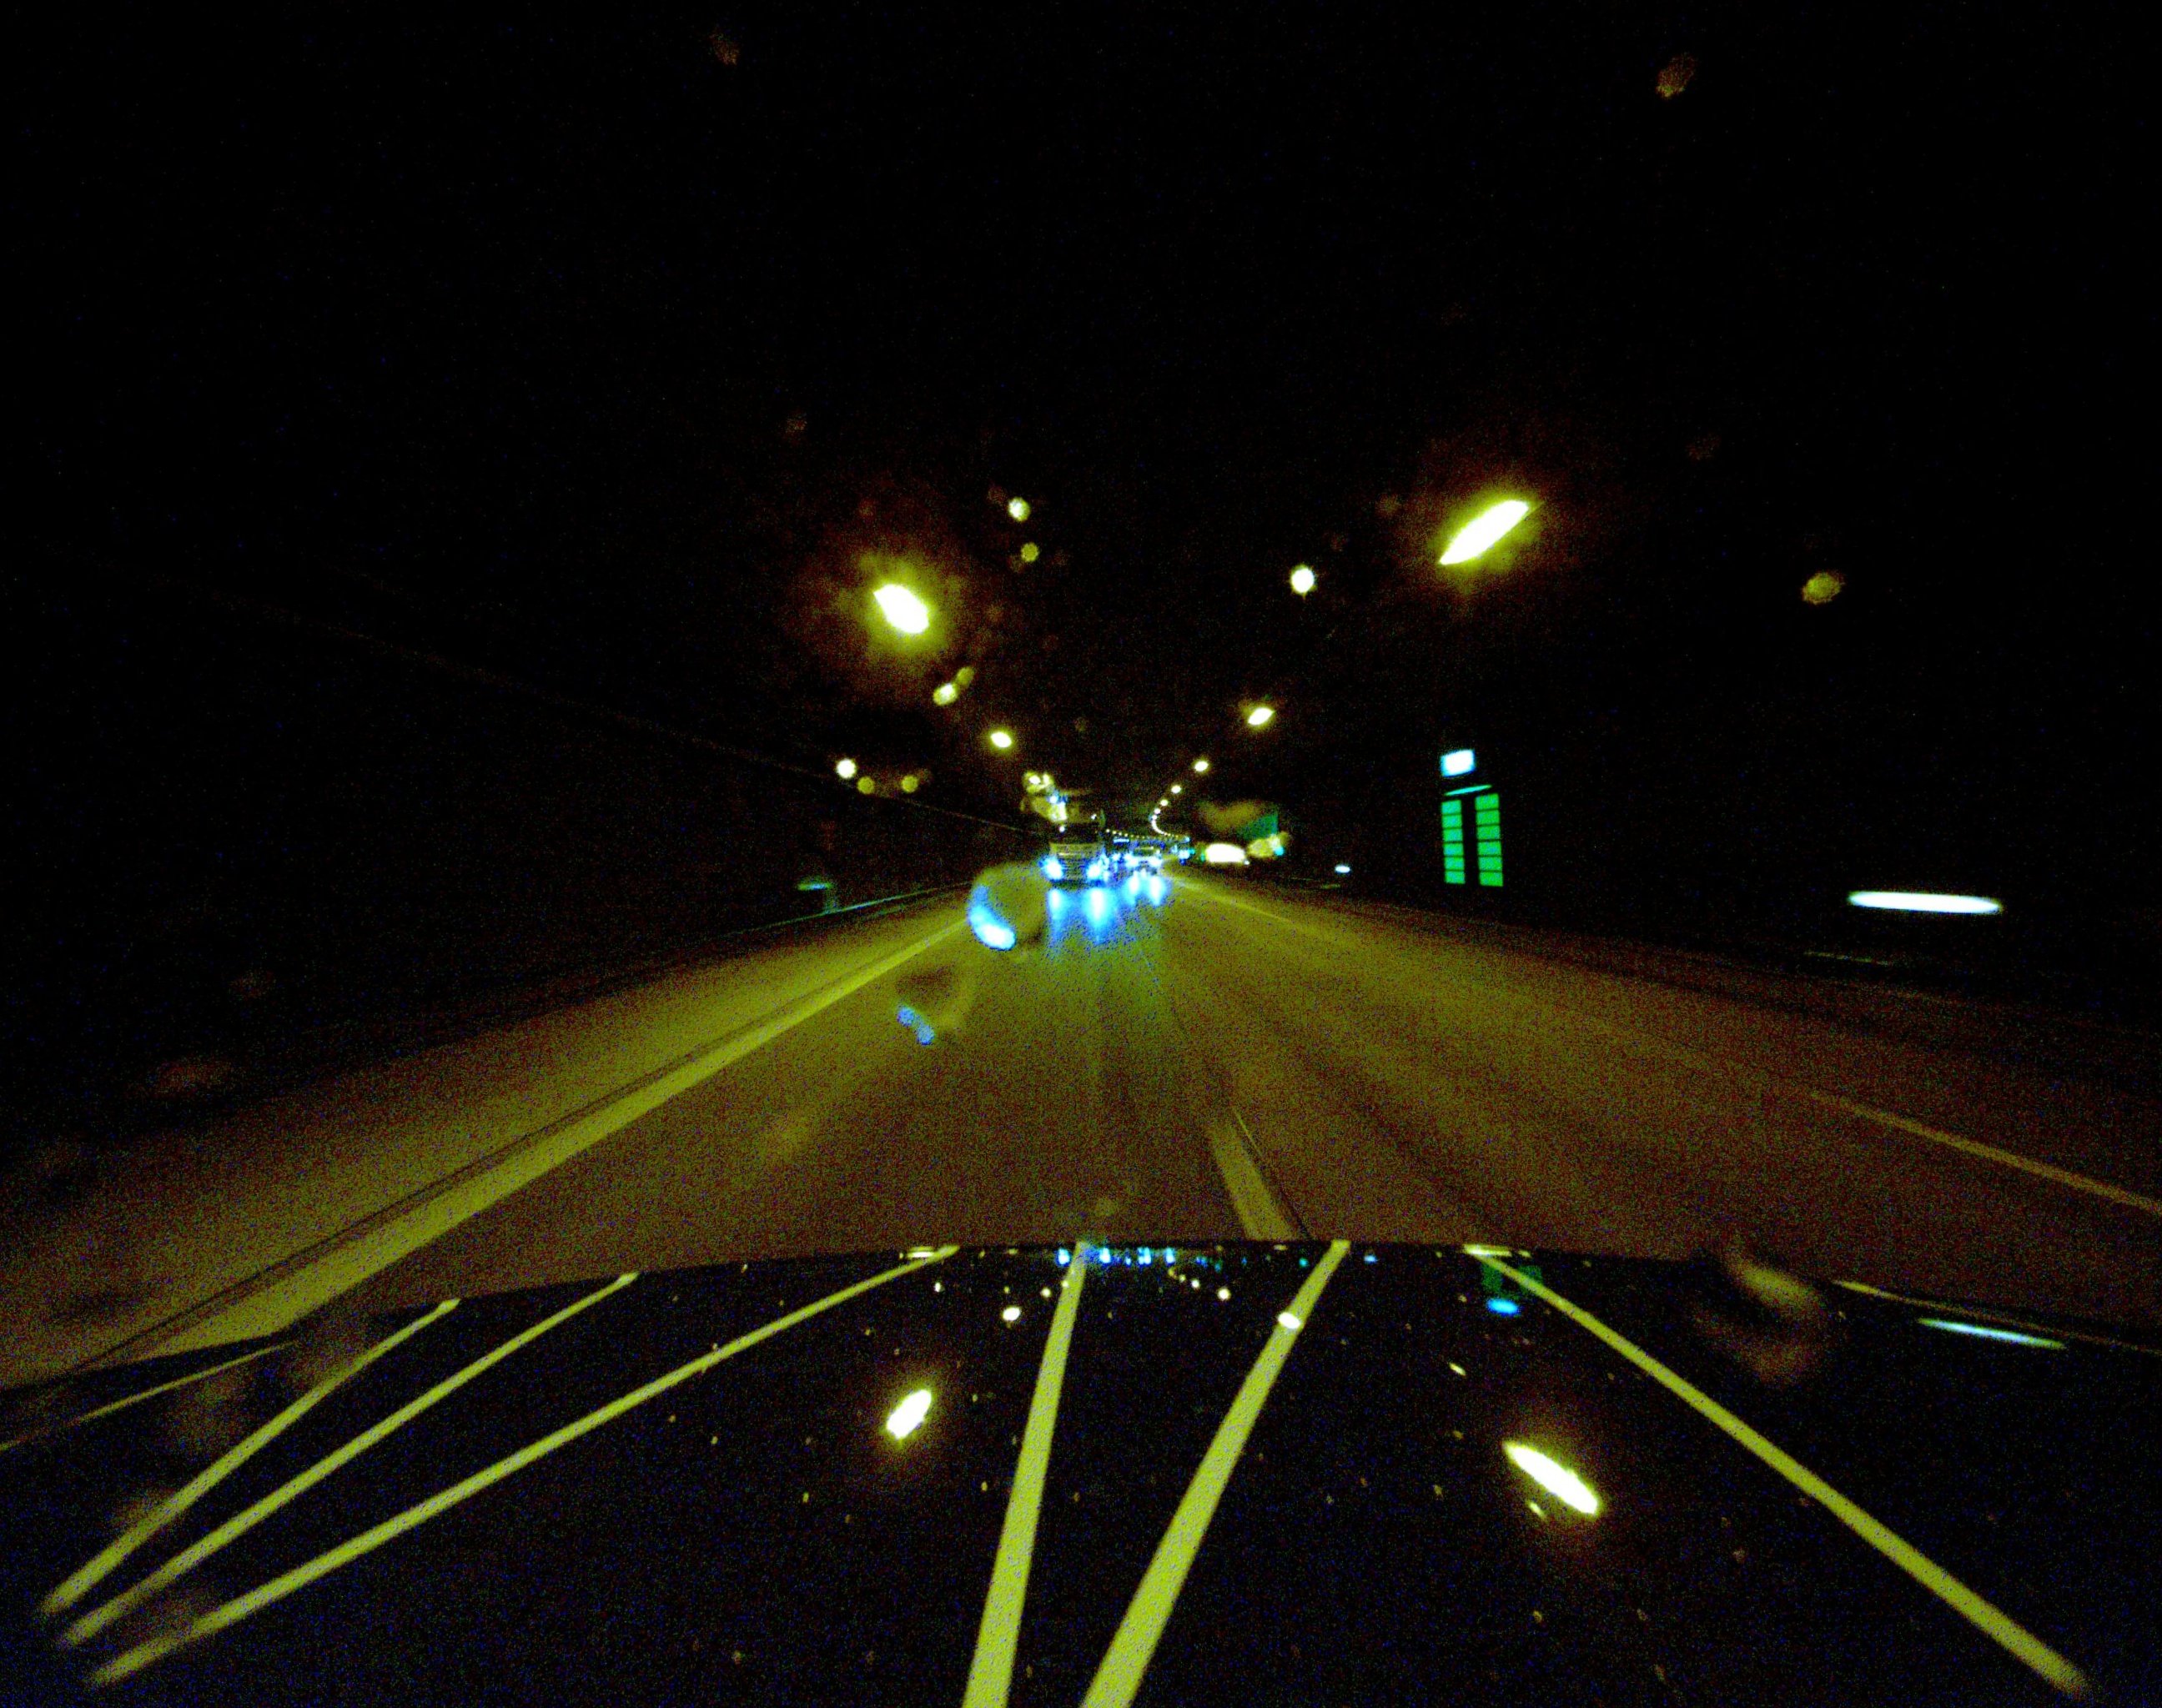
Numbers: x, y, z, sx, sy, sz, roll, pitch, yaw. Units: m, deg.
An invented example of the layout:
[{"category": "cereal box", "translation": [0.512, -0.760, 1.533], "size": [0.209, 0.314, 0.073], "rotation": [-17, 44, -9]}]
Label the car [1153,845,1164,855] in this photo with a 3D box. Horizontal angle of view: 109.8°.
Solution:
[{"category": "car", "translation": [14.300, -0.740, 140.071], "size": [1.997, 1.788, 4.002], "rotation": [-1, 1, 8]}]

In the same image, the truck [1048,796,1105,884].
[{"category": "truck", "translation": [-0.149, -0.701, 39.310], "size": [2.653, 4.139, 6.005], "rotation": [-1, 1, 1]}]

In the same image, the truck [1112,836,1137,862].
[{"category": "truck", "translation": [6.998, -0.817, 120.802], "size": [2.898, 3.819, 9.003], "rotation": [-1, 1, 10]}]

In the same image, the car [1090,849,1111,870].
[{"category": "car", "translation": [1.911, 0.484, 71.784], "size": [1.839, 1.849, 4.288], "rotation": [1, 1, 3]}]

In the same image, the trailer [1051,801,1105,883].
[{"category": "trailer", "translation": [0.024, -0.671, 46.011], "size": [2.627, 4.139, 14.001], "rotation": [-2, 0, 1]}]

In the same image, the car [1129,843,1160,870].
[{"category": "car", "translation": [4.672, 0.194, 56.318], "size": [1.998, 1.890, 4.000], "rotation": [-1, 0, 1]}]

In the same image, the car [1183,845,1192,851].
[{"category": "car", "translation": [31.305, -1.717, 223.330], "size": [1.996, 1.788, 4.003], "rotation": [-1, 1, 13]}]
